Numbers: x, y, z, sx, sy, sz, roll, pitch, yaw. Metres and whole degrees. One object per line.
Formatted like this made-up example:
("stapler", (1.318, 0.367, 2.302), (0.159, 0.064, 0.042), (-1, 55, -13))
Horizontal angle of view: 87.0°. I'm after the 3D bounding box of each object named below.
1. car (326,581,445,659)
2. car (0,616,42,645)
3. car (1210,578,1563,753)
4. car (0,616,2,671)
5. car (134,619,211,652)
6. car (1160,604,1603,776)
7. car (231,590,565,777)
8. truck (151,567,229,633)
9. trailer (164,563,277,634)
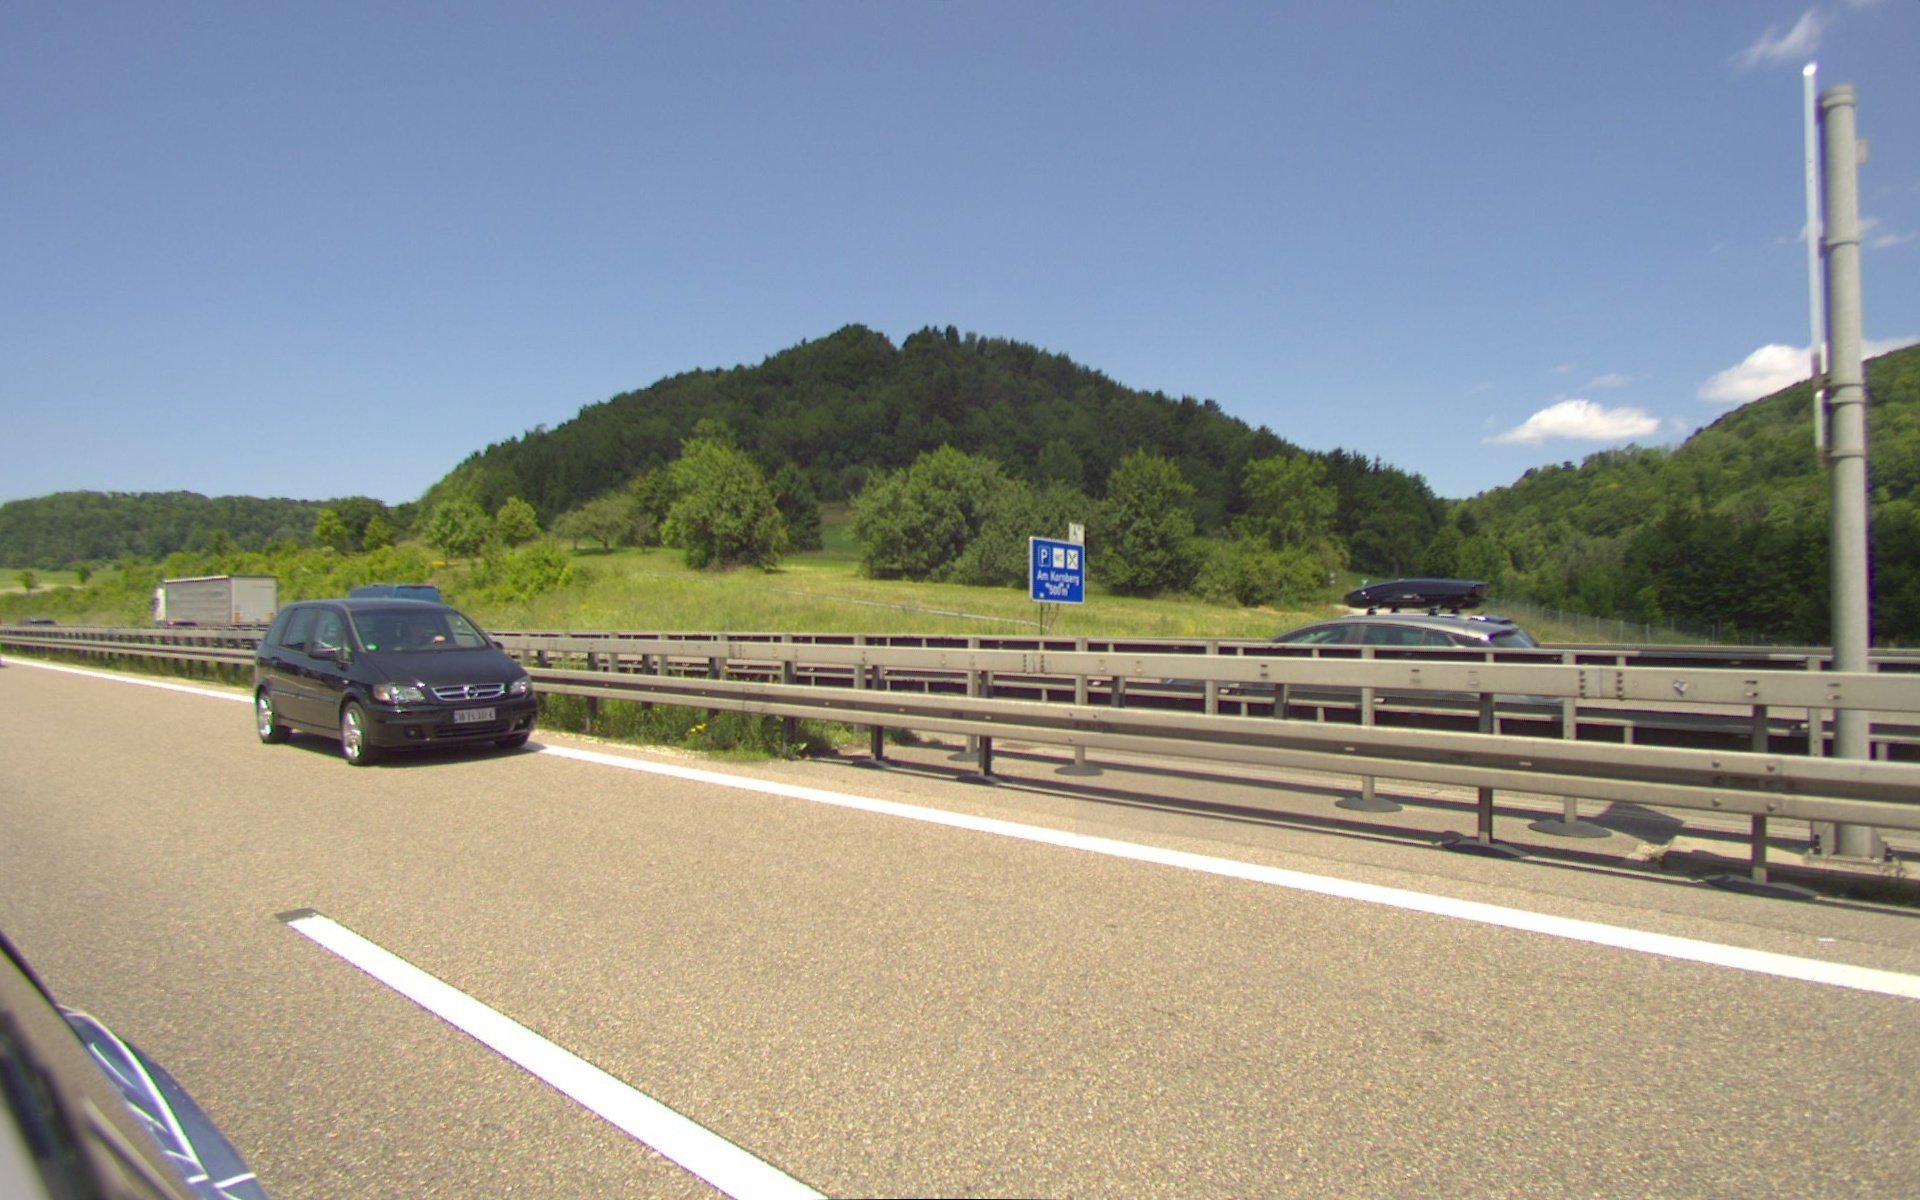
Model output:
("car", (-23.107, 0.756, 40.562), (6.395, 2.884, 2.133), (-1, 0, 41))
("car", (-59.051, 1.884, 63.288), (4.278, 1.722, 1.828), (-1, -1, 39))
("car", (5.974, 0.827, 14.514), (4.284, 2.134, 1.865), (-1, -1, 44))
("car", (-30.509, 1.309, 30.496), (3.997, 1.634, 1.973), (-1, -1, 40))
("car", (-36.701, 1.621, 47.104), (4.718, 1.397, 1.973), (-1, -1, 41))
("car", (4.349, 0.814, 10.794), (4.022, 1.496, 1.749), (-1, -1, 41))
("car", (-6.278, 0.776, 11.077), (4.443, 1.647, 1.782), (-1, -1, 41))
("truck", (-52.791, 0.014, 69.302), (7.226, 4.264, 2.769), (-1, 0, 40))
("trailer", (-47.923, -0.046, 65.362), (13.606, 4.222, 2.825), (0, 0, 41))
